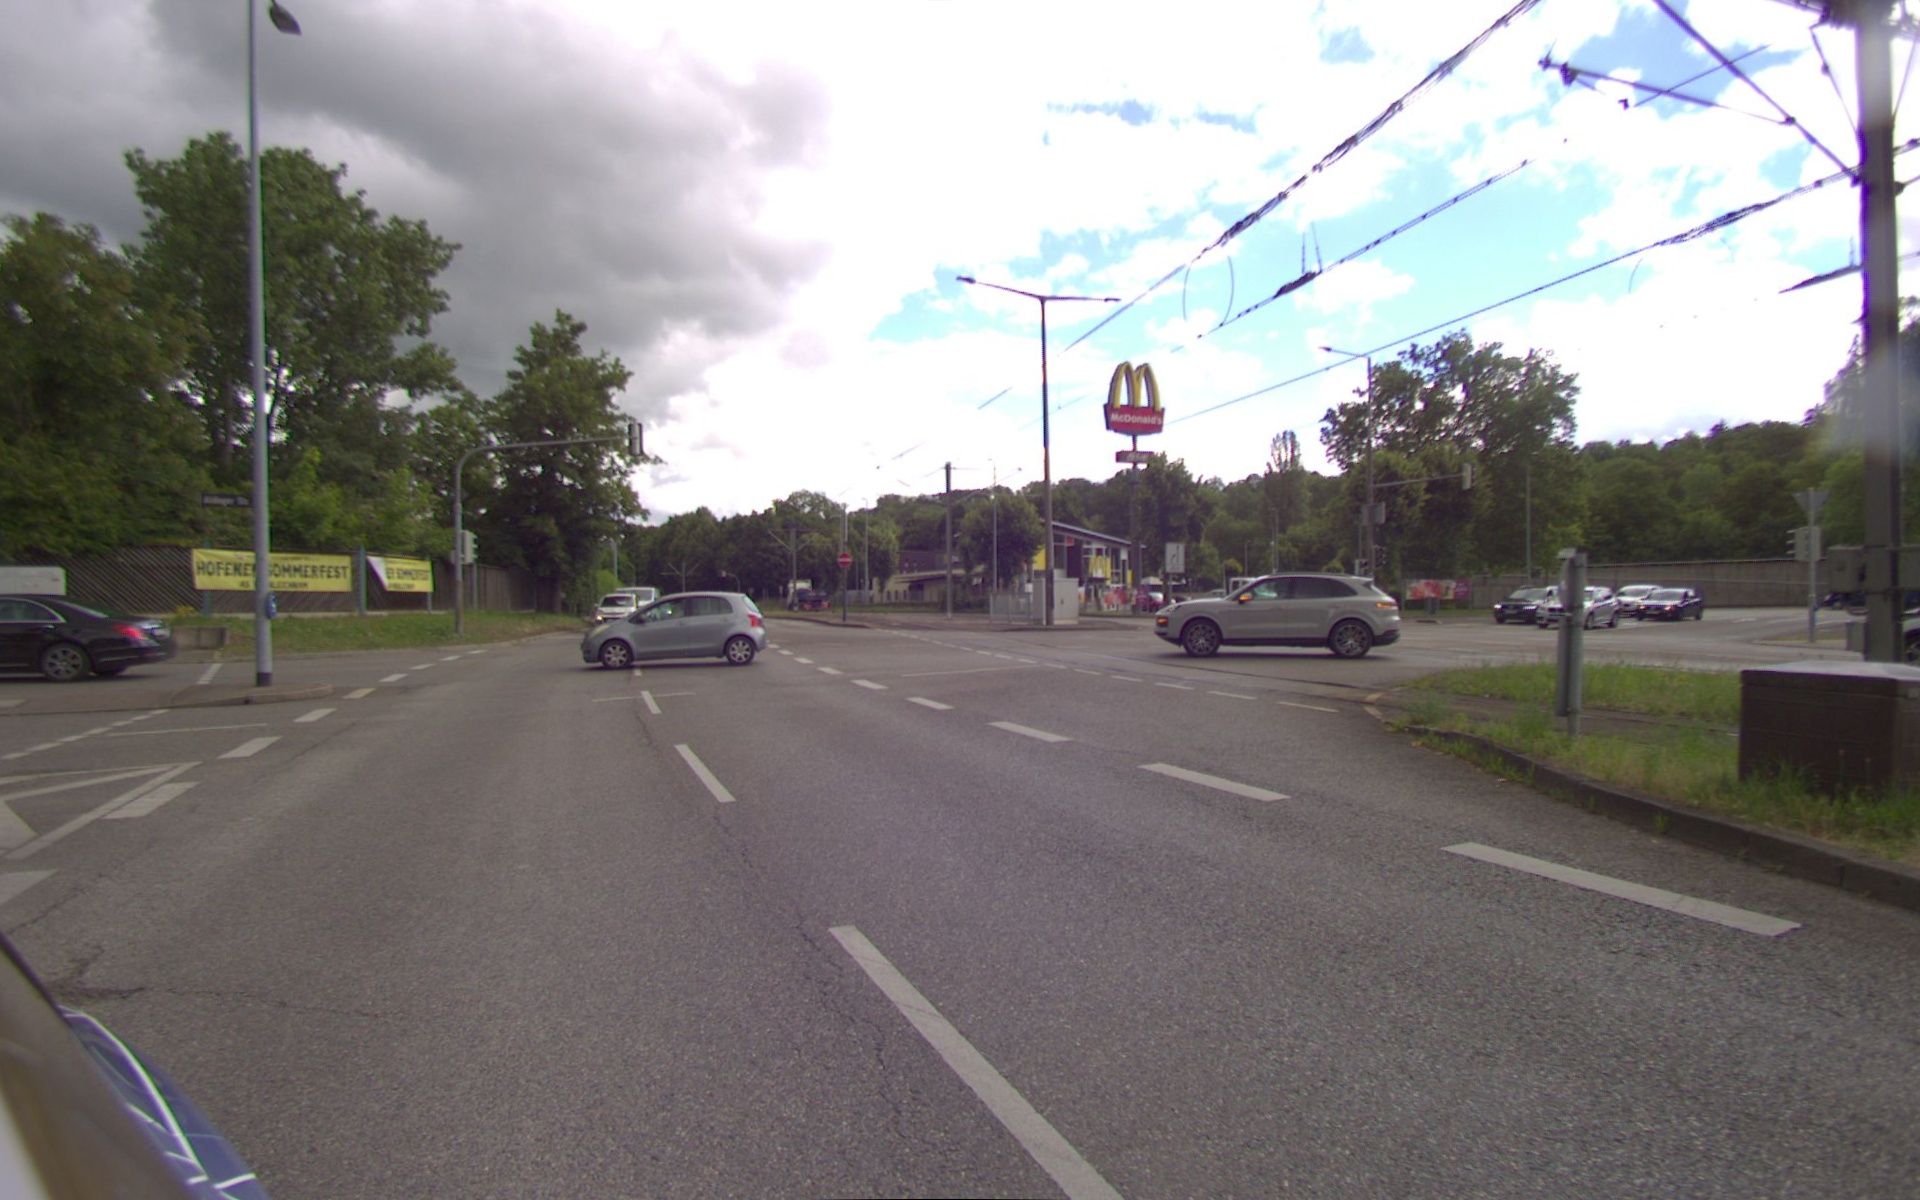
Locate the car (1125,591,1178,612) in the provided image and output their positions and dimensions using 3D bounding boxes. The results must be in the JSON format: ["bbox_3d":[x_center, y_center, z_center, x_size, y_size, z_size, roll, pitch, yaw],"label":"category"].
[{"bbox_3d":[14.065,0.098,74.683,1.891,1.532,4.013,1,0,-24],"label":"car"}]

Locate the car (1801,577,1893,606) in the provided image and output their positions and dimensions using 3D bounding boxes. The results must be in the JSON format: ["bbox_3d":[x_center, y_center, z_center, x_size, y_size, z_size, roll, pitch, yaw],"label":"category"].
[{"bbox_3d":[50.071,-0.448,57.204,1.699,1.566,3.650,1,0,-36],"label":"car"}]

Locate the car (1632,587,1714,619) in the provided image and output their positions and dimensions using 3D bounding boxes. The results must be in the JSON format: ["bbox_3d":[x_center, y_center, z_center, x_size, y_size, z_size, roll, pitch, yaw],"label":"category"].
[{"bbox_3d":[33.167,0.117,47.053,4.212,1.443,1.801,-1,0,-35],"label":"car"}]

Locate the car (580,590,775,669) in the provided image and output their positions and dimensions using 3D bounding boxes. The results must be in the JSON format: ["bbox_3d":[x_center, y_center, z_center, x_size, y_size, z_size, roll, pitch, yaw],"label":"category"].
[{"bbox_3d":[-5.735,0.576,20.949,3.727,1.499,1.680,-1,0,-10],"label":"car"}]

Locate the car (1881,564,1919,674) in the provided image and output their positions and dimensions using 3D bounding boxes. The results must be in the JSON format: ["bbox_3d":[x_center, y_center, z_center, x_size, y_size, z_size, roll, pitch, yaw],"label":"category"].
[{"bbox_3d":[16.267,0.270,14.711,1.724,1.653,4.129,-1,0,-42],"label":"car"}]

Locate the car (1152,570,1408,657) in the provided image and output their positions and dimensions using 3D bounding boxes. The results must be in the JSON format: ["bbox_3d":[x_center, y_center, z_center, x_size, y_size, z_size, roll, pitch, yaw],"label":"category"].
[{"bbox_3d":[6.488,0.273,20.821,4.815,1.655,1.667,-1,0,18],"label":"car"}]

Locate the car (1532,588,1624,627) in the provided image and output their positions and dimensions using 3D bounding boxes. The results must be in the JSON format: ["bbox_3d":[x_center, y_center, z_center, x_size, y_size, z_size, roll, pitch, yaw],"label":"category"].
[{"bbox_3d":[25.000,0.285,40.878,4.347,1.443,1.800,-1,0,-39],"label":"car"}]

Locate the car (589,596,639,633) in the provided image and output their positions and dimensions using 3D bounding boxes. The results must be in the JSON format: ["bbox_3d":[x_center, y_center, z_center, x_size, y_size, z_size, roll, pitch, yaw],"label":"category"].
[{"bbox_3d":[-13.954,0.570,40.973,1.692,1.429,4.011,0,0,-15],"label":"car"}]

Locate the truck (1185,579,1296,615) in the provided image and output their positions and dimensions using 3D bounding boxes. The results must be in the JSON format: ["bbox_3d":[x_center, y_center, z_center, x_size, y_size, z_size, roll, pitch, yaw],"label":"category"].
[{"bbox_3d":[15.750,-0.143,57.246,2.556,1.920,6.218,1,0,-26],"label":"truck"}]

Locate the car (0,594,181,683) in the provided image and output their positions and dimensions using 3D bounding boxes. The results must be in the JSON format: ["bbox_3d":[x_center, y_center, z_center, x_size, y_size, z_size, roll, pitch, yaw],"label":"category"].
[{"bbox_3d":[-16.638,0.635,17.319,4.908,1.461,1.837,0,0,-21],"label":"car"}]

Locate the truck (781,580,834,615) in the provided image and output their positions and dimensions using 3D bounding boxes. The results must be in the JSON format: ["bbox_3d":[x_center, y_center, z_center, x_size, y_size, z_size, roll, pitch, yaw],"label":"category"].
[{"bbox_3d":[-16.786,-0.251,111.066,3.378,3.586,8.728,1,0,-25],"label":"truck"}]

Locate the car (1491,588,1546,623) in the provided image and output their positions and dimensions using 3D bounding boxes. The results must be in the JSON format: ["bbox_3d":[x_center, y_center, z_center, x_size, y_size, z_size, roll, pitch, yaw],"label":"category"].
[{"bbox_3d":[24.685,0.228,44.673,1.792,1.443,3.599,-1,0,34],"label":"car"}]

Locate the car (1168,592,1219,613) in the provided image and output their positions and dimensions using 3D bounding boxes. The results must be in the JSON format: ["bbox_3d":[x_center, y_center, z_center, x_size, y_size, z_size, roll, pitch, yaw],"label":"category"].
[{"bbox_3d":[17.971,0.204,78.103,1.751,1.540,4.013,1,0,-24],"label":"car"}]

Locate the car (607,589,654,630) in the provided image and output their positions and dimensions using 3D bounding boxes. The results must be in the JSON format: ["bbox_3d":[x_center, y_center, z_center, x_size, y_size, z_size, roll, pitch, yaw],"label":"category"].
[{"bbox_3d":[-15.321,0.422,47.190,1.780,1.839,4.011,-1,0,-14],"label":"car"}]

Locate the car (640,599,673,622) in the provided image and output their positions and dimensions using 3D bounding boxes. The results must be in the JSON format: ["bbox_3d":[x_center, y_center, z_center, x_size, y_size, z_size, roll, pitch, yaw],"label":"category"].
[{"bbox_3d":[-20.671,0.709,68.976,1.966,1.547,4.011,0,0,-14],"label":"car"}]

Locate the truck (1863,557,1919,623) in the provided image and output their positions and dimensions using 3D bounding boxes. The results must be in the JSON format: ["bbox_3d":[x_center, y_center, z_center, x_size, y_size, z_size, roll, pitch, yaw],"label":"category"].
[{"bbox_3d":[38.994,-0.406,40.302,5.724,2.513,2.394,-1,0,-24],"label":"truck"}]
